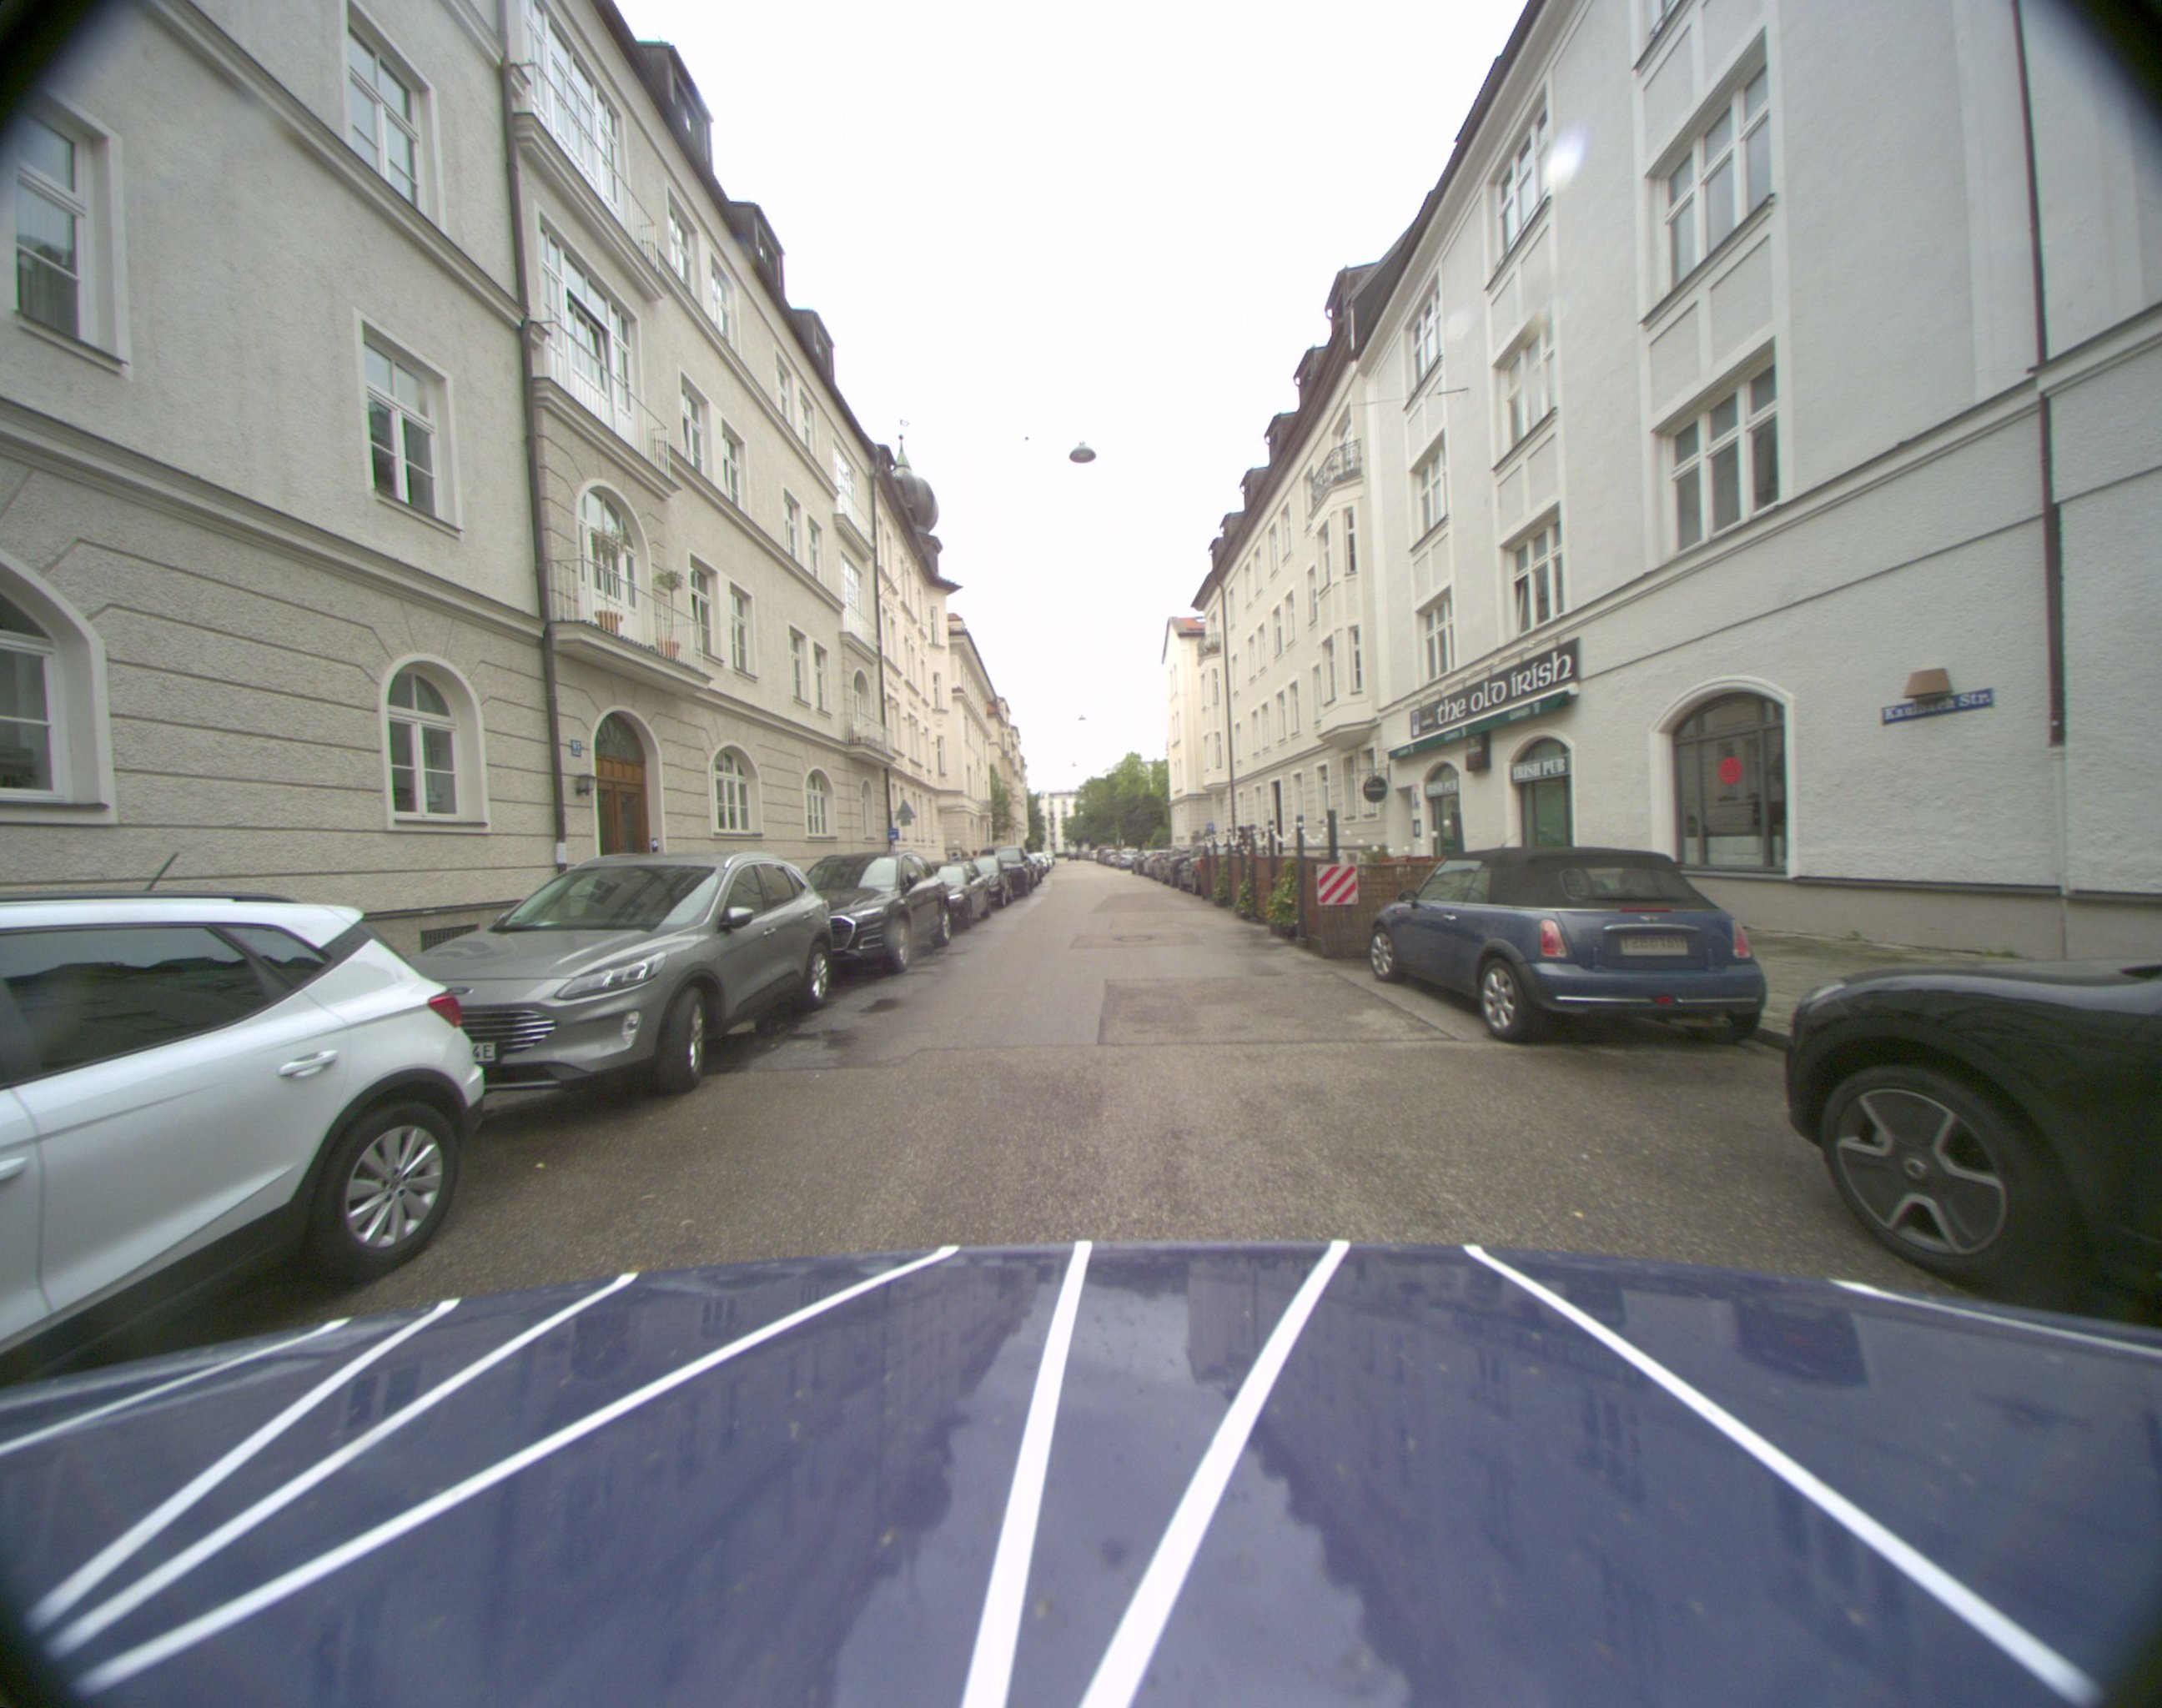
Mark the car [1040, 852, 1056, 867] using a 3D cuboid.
[{"bbox_3d":[-3.595,0.557,82.127,1.667,1.499,4.063,-3,0,-3],"label":"car"}]

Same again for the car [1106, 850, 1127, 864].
[{"bbox_3d":[3.665,0.265,78.630,1.740,1.357,4.191,-1,0,-4],"label":"car"}]

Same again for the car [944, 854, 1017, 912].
[{"bbox_3d":[-2.952,0.803,22.981,1.659,1.516,3.636,-3,0,0],"label":"car"}]

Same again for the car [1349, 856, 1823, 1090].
[{"bbox_3d":[3.862,0.765,6.765,1.711,1.382,4.000,-1,1,3],"label":"car"}]

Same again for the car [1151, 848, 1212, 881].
[{"bbox_3d":[4.493,0.432,34.569,1.816,1.377,4.441,-1,0,-4],"label":"car"}]

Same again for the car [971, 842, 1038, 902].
[{"bbox_3d":[-2.742,0.595,28.331,1.916,1.874,4.713,-5,1,-1],"label":"car"}]

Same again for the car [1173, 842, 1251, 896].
[{"bbox_3d":[4.289,0.451,25.464,1.751,1.663,4.274,0,0,-2],"label":"car"}]

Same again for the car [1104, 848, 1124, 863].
[{"bbox_3d":[3.537,0.134,82.127,1.773,1.412,3.998,-3,1,-4],"label":"car"}]

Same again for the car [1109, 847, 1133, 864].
[{"bbox_3d":[3.679,0.122,70.252,1.802,1.426,4.078,-3,1,-1],"label":"car"}]

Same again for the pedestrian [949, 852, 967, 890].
[{"bbox_3d":[-5.471,0.748,33.844,0.681,1.665,0.654,-1,1,-3],"label":"pedestrian"}]

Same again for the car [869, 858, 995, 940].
[{"bbox_3d":[-3.141,0.888,16.844,1.710,1.462,4.201,-3,0,3],"label":"car"}]

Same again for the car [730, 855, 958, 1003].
[{"bbox_3d":[-3.211,0.909,11.337,1.781,1.626,4.375,-4,1,2],"label":"car"}]

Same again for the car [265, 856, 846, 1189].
[{"bbox_3d":[-3.561,0.934,6.394,1.794,1.703,4.425,-2,1,-1],"label":"car"}]

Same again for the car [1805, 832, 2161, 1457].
[{"bbox_3d":[3.569,0.752,0.904,1.680,1.588,3.944,-1,1,1],"label":"car"}]

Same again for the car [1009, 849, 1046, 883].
[{"bbox_3d":[-2.752,0.586,39.968,1.712,1.578,3.999,-4,0,-3],"label":"car"}]

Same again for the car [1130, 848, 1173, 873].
[{"bbox_3d":[4.190,0.367,46.077,1.855,1.359,4.700,-3,1,-3],"label":"car"}]

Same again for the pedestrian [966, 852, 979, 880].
[{"bbox_3d":[-6.550,0.692,45.742,0.684,1.669,0.812,-1,0,-2],"label":"pedestrian"}]

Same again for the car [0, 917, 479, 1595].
[{"bbox_3d":[-3.478,1.083,1.365,1.755,1.487,3.908,-3,1,-4],"label":"car"}]

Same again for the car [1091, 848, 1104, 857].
[{"bbox_3d":[2.550,-0.234,120.241,1.705,1.483,3.954,-2,0,-3],"label":"car"}]

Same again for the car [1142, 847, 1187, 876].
[{"bbox_3d":[4.360,0.373,40.190,1.799,1.411,4.509,0,1,-1],"label":"car"}]

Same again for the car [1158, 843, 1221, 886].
[{"bbox_3d":[4.177,0.369,29.833,1.746,1.478,4.180,-3,1,-1],"label":"car"}]

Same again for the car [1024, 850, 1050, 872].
[{"bbox_3d":[-3.251,0.490,55.684,1.713,1.492,3.998,-4,1,-4],"label":"car"}]

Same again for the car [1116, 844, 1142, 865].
[{"bbox_3d":[3.713,0.060,59.266,1.701,1.571,4.061,0,0,-1],"label":"car"}]

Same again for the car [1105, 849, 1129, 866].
[{"bbox_3d":[3.095,0.299,65.374,1.649,1.395,3.998,-1,1,-3],"label":"car"}]

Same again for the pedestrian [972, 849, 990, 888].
[{"bbox_3d":[-4.549,0.638,34.516,0.705,1.718,0.703,-2,1,-3],"label":"pedestrian"}]

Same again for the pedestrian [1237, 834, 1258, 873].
[{"bbox_3d":[7.451,-0.044,33.995,0.663,1.697,0.701,-2,1,32],"label":"pedestrian"}]

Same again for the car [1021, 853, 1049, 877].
[{"bbox_3d":[-3.065,0.706,51.308,1.616,1.387,3.999,-4,1,-2],"label":"car"}]

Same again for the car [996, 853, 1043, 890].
[{"bbox_3d":[-2.729,0.751,34.348,1.668,1.387,3.581,-5,1,1],"label":"car"}]

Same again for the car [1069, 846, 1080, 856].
[{"bbox_3d":[-1.091,-0.530,133.873,1.729,1.525,4.083,-3,2,-3],"label":"car"}]

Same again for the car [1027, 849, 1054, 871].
[{"bbox_3d":[-3.213,0.497,60.975,1.900,1.626,4.391,-3,0,0],"label":"car"}]
